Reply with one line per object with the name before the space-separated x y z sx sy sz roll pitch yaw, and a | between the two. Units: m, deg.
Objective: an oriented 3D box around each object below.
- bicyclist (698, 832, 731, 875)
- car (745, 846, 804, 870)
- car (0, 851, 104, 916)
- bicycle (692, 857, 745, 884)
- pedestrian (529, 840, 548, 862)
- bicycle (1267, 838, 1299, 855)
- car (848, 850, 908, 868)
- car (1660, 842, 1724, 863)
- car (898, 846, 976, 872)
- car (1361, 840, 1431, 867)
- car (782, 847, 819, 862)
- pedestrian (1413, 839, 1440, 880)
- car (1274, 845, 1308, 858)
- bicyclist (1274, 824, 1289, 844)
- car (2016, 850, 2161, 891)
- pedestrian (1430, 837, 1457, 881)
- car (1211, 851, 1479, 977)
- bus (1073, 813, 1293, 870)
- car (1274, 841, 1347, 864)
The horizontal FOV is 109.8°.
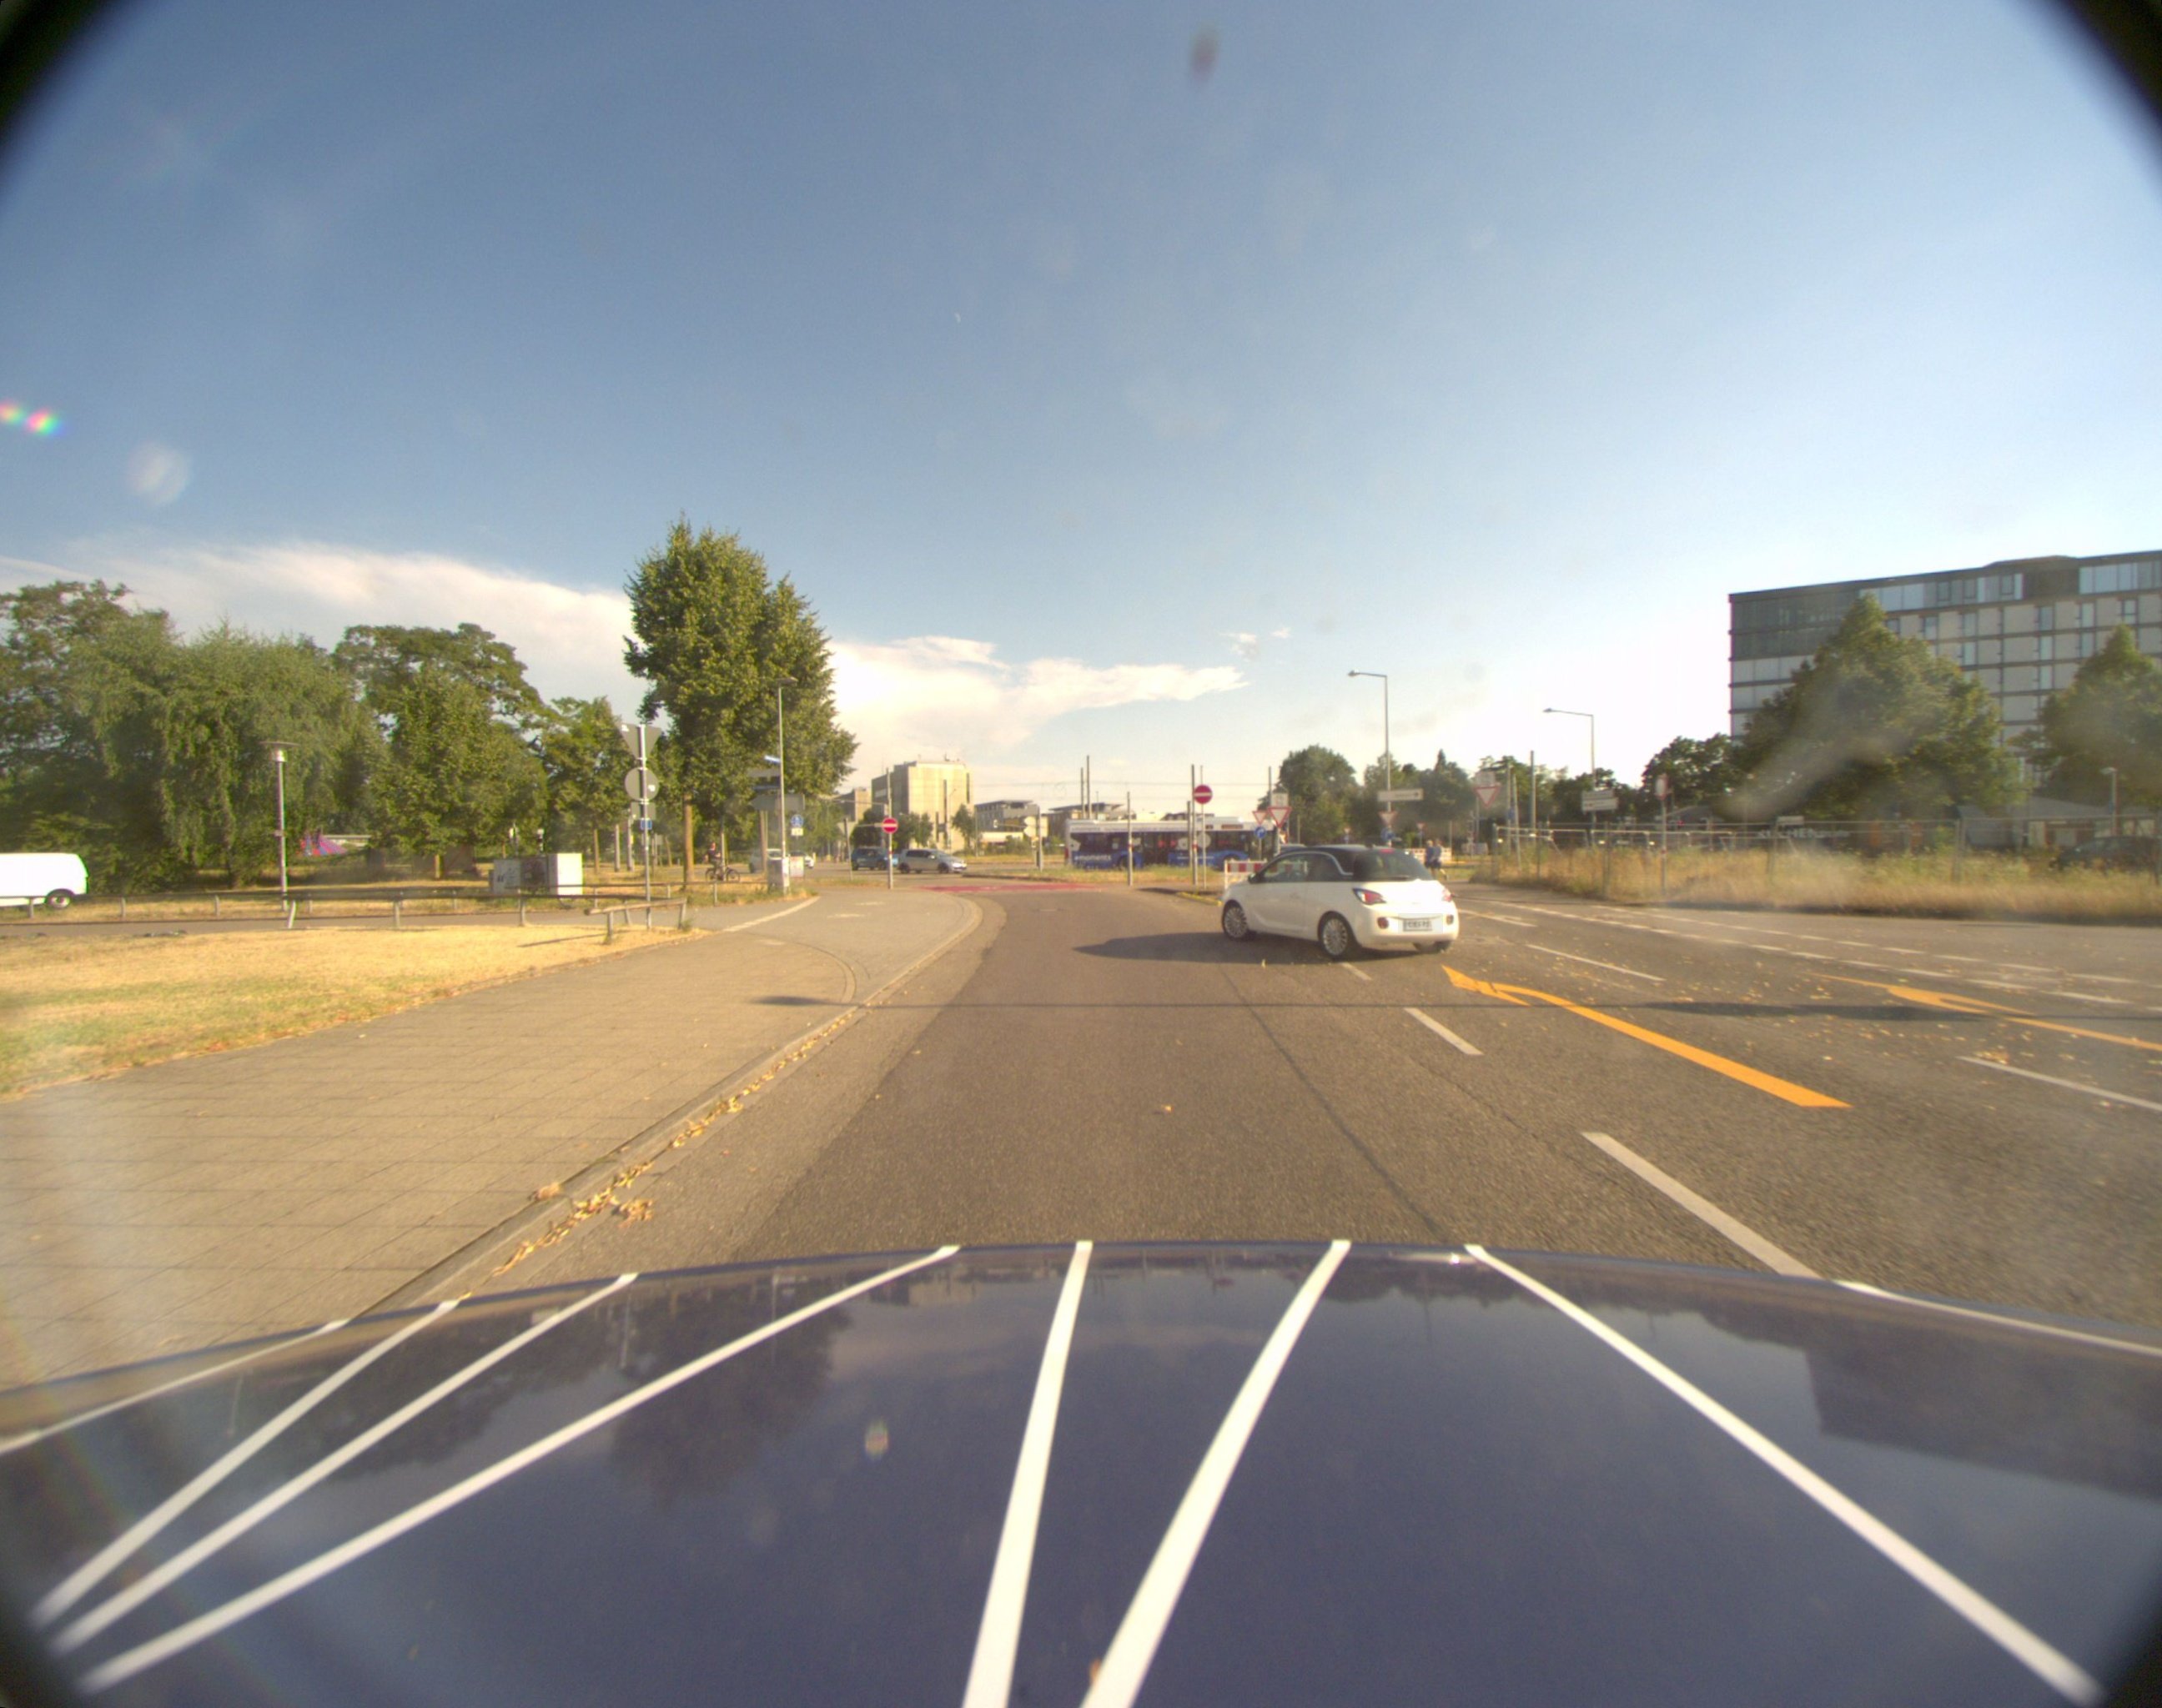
bicyclist | -15.415 -0.012 31.954 0.936 1.790 0.729 0 1 15
car | -20.781 0.252 51.527 4.036 1.542 1.916 0 1 38
car | -35.330 0.970 23.940 2.268 2.002 5.217 0 2 1
bicycle | -15.222 0.687 31.908 2.121 1.116 0.641 0 1 16
pedestrian | -34.737 -0.172 48.653 0.652 1.383 0.767 1 0 -4
bicycle | 14.486 -0.534 54.461 2.030 1.177 0.820 0 1 -1
car | -13.668 0.300 51.165 3.989 1.171 1.648 0 1 32
car | 42.485 -0.098 52.806 4.708 1.398 1.839 -1 1 -29
car | -8.478 0.290 44.842 3.992 1.515 2.002 0 1 16
car | 24.901 -0.068 60.041 5.250 2.035 2.090 -1 1 -24
car | -26.734 0.044 72.486 2.094 1.376 4.587 -1 1 -4
pedestrian | 14.518 0.220 31.965 0.812 1.699 0.786 0 1 3
car | 27.177 -0.319 98.323 2.003 1.566 3.991 -1 1 -28
bicyclist | 14.363 -1.415 54.391 0.771 1.377 0.883 -2 3 -1
car | 38.245 0.557 28.188 1.998 1.355 4.245 0 1 3
pedestrian | 14.862 0.207 31.163 0.771 1.765 0.760 0 1 2
car | 3.513 0.690 10.837 1.766 1.413 3.618 -1 1 -19
bus | 5.682 -0.711 43.474 12.171 3.044 2.665 -1 1 -1
car | 14.883 -0.115 49.329 4.392 1.428 1.807 -1 1 -23
